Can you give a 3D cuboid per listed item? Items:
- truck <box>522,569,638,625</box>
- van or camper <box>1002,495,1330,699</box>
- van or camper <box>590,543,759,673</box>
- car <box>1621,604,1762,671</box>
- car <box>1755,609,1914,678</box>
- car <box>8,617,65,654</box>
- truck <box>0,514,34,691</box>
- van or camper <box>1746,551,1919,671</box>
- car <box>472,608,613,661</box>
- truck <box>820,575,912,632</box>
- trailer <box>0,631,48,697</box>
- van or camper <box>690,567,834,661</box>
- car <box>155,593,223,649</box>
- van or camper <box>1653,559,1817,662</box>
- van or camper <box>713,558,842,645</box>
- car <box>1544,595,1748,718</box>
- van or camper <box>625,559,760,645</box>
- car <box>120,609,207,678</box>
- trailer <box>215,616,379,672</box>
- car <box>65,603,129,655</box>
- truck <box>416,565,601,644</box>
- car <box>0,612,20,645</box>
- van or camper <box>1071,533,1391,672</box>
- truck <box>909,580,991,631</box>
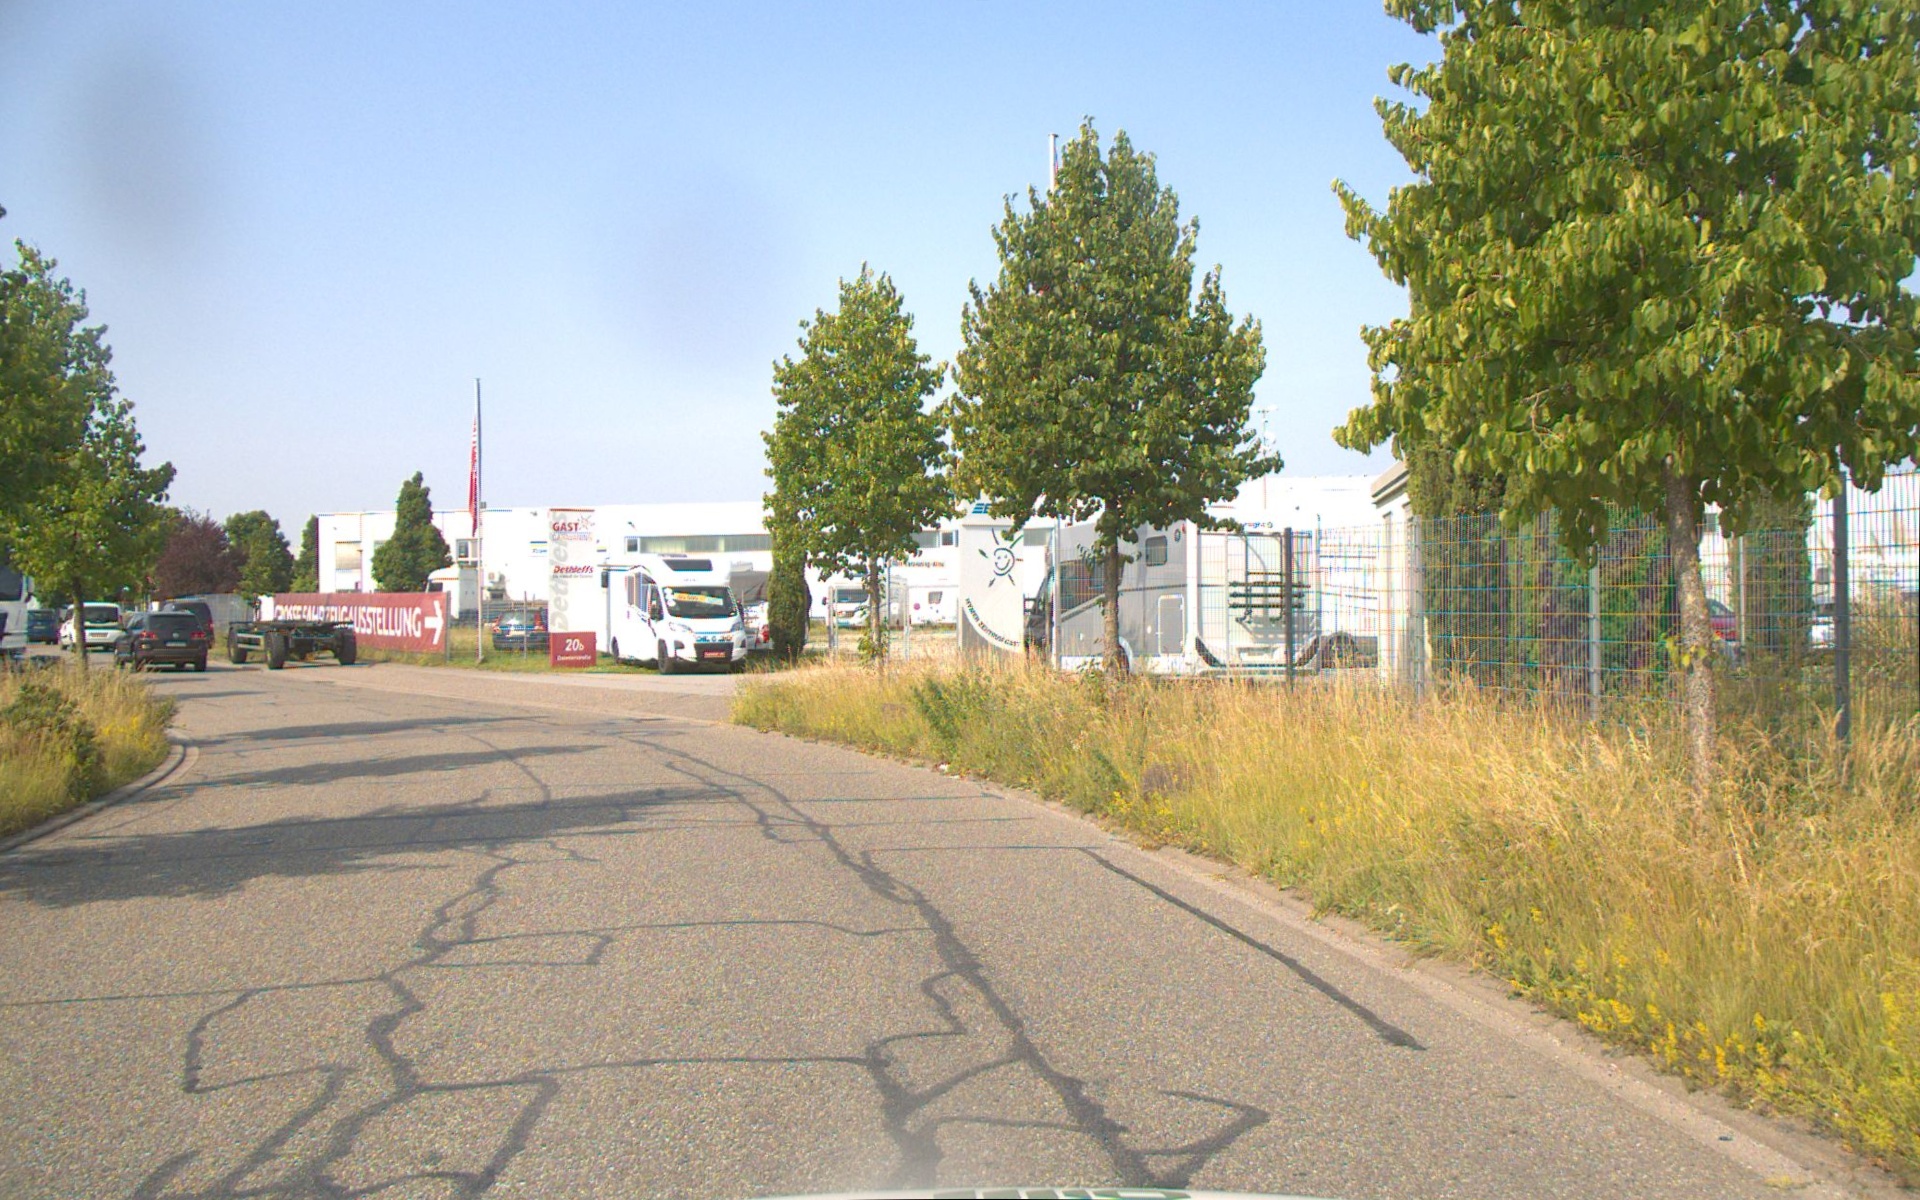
[{"bbox_3d":[-18.098,-0.145,79.333,2.398,2.514,8.009,0,0,11],"label":"truck"},{"bbox_3d":[3.108,-0.013,27.350,2.315,2.898,7.297,0,0,-20],"label":"van or camper"},{"bbox_3d":[-7.321,0.175,41.714,2.303,2.995,6.910,0,0,-27],"label":"van or camper"},{"bbox_3d":[16.565,0.815,37.661,1.674,1.403,4.002,1,0,4],"label":"car"},{"bbox_3d":[19.565,0.938,37.184,1.674,1.403,4.002,1,0,4],"label":"car"},{"bbox_3d":[-43.485,1.657,77.884,1.977,1.668,3.950,0,0,-35],"label":"car"},{"bbox_3d":[-25.726,0.115,42.393,2.602,3.998,12.767,0,-1,-33],"label":"truck"},{"bbox_3d":[23.069,0.322,43.727,2.271,2.914,6.614,0,-1,8],"label":"van or camper"},{"bbox_3d":[-12.650,1.010,50.307,2.123,1.502,3.997,0,0,25],"label":"car"},{"bbox_3d":[-4.267,0.136,76.846,2.398,2.514,8.009,0,0,11],"label":"truck"},{"bbox_3d":[-19.310,1.218,31.829,2.553,1.119,5.136,0,0,-35],"label":"trailer"},{"bbox_3d":[-5.787,0.356,49.457,2.430,2.603,6.632,0,0,10],"label":"van or camper"},{"bbox_3d":[-30.205,0.784,64.740,1.802,2.012,3.954,-4,2,-33],"label":"car"},{"bbox_3d":[20.825,0.311,44.805,2.171,2.569,6.614,0,-1,8],"label":"van or camper"},{"bbox_3d":[-6.901,0.026,63.825,2.886,3.138,7.977,0,0,10],"label":"van or camper"},{"bbox_3d":[10.238,0.780,24.994,1.686,1.672,4.002,1,0,5],"label":"car"},{"bbox_3d":[-10.251,0.054,64.385,2.738,3.138,7.977,0,0,10],"label":"van or camper"},{"bbox_3d":[-22.807,1.220,47.304,1.972,1.836,3.960,-1,-1,-30],"label":"car"},{"bbox_3d":[-20.325,1.253,50.344,2.602,1.412,9.338,-3,1,-35],"label":"trailer"},{"bbox_3d":[-33.643,1.099,64.435,1.973,1.932,4.420,0,0,-31],"label":"car"},{"bbox_3d":[-23.663,0.231,86.826,9.085,4.042,2.460,0,0,8],"label":"truck"},{"bbox_3d":[-53.931,1.603,92.536,1.977,1.803,3.950,0,0,-35],"label":"car"},{"bbox_3d":[6.168,0.082,38.516,7.106,3.085,2.586,0,-1,4],"label":"van or camper"},{"bbox_3d":[-0.377,0.250,78.834,2.398,2.305,8.009,0,0,11],"label":"truck"}]
